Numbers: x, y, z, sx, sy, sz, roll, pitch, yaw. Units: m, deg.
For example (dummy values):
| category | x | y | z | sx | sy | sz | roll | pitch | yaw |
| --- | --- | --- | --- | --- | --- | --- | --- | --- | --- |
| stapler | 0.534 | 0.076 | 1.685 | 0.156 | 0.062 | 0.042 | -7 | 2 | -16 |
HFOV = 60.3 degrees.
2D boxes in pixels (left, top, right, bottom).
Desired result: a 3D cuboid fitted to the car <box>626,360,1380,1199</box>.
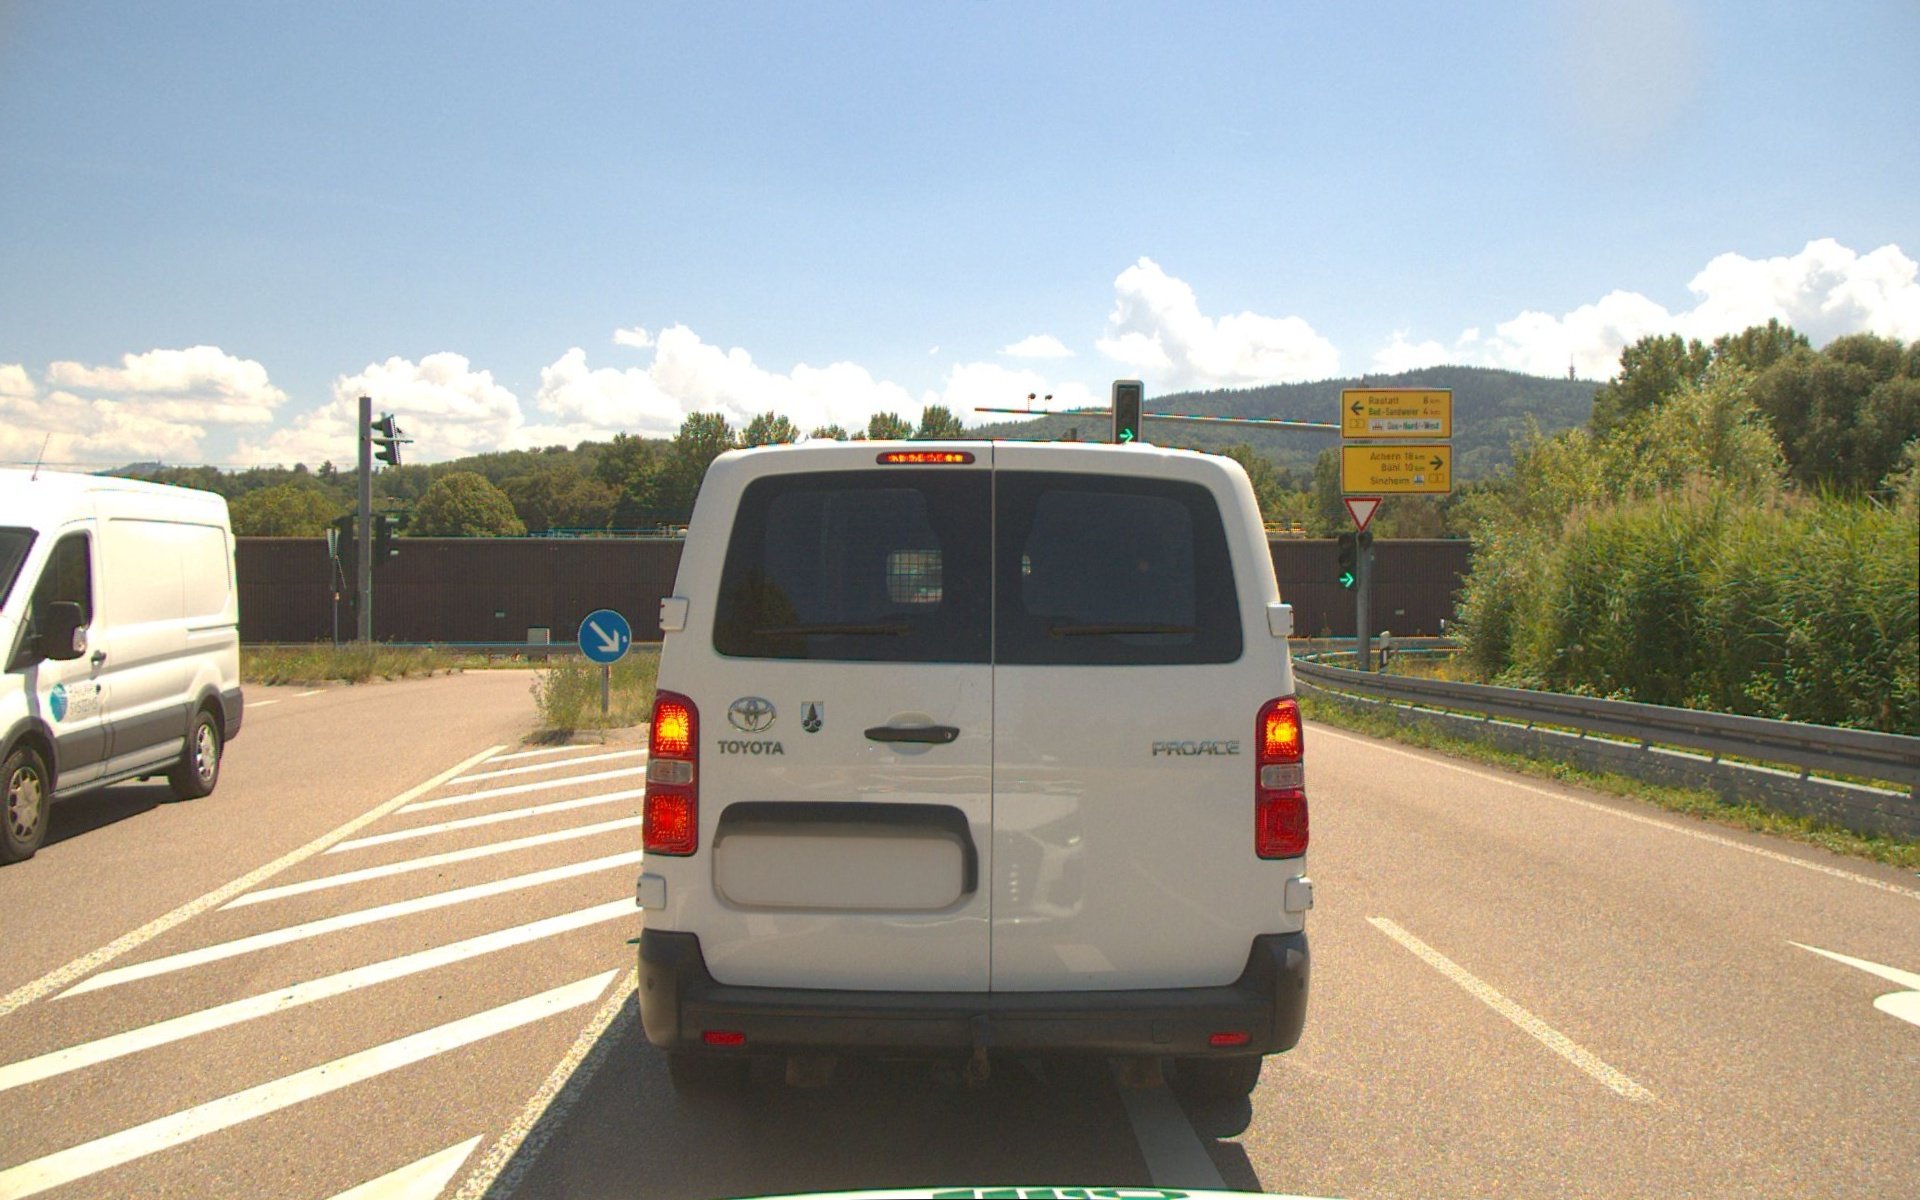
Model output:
| category | x | y | z | sx | sy | sz | roll | pitch | yaw |
| --- | --- | --- | --- | --- | --- | --- | --- | --- | --- |
| car | 0.077 | 0.473 | 5.915 | 1.778 | 2.053 | 3.999 | 0 | 0 | -1 |

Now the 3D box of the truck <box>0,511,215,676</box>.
| category | x | y | z | sx | sy | sz | roll | pitch | yaw |
| --- | --- | --- | --- | --- | --- | --- | --- | --- | --- |
| truck | -22.352 | -0.148 | 41.774 | 5.649 | 4.024 | 3.061 | 0 | -1 | -3 |

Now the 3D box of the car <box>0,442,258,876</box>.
| category | x | y | z | sx | sy | sz | roll | pitch | yaw |
| --- | --- | --- | --- | --- | --- | --- | --- | --- | --- |
| car | -6.731 | 0.361 | 11.498 | 1.956 | 2.458 | 5.579 | -2 | 0 | -8 |

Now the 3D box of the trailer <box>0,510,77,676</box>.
| category | x | y | z | sx | sy | sz | roll | pitch | yaw |
| --- | --- | --- | --- | --- | --- | --- | --- | --- | --- |
| trailer | -29.493 | -0.189 | 41.434 | 12.877 | 4.024 | 3.060 | 0 | -1 | -3 |
